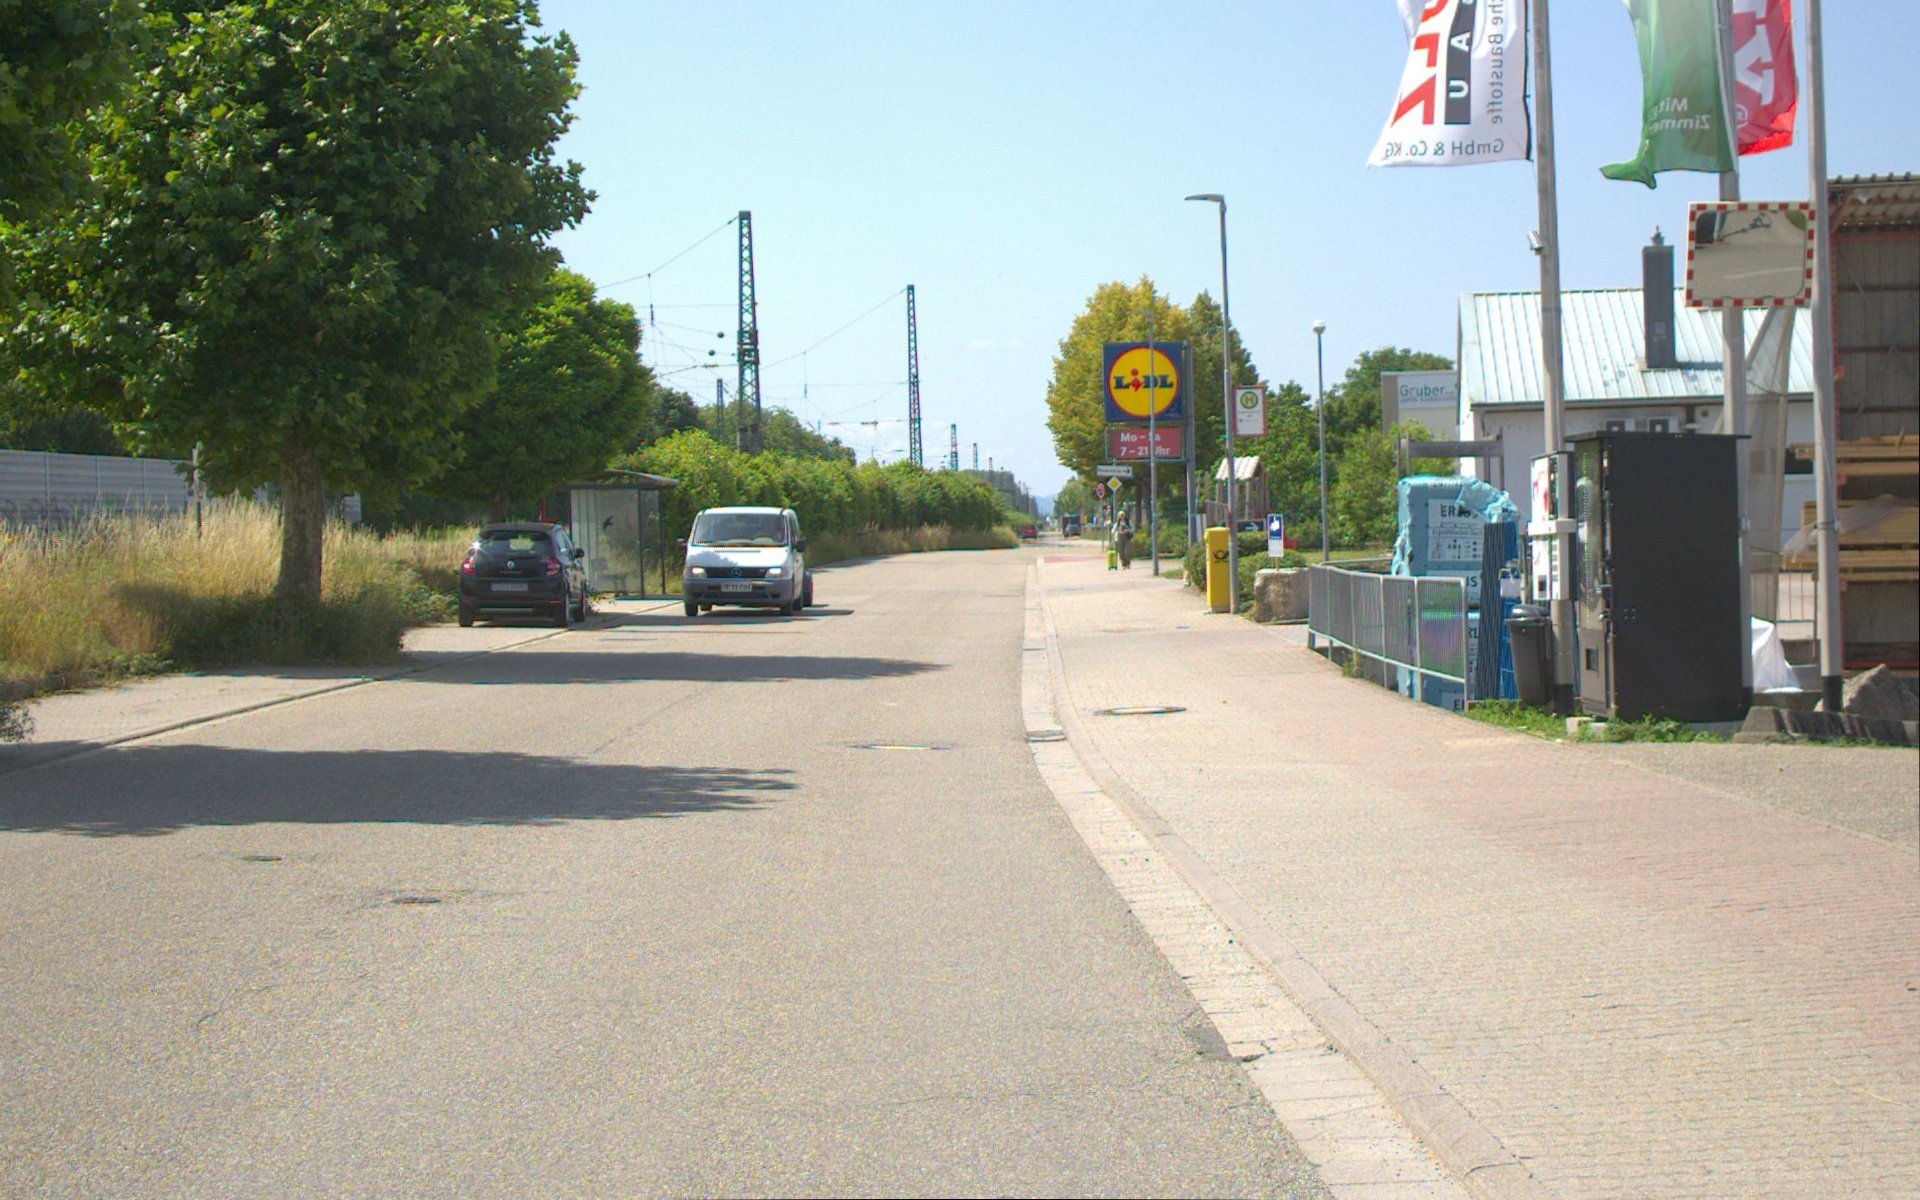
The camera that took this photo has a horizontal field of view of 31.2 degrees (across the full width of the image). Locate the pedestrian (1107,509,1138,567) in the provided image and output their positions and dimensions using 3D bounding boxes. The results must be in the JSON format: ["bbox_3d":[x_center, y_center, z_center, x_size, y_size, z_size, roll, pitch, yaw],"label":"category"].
[{"bbox_3d":[4.531,-1.725,96.023,0.761,1.596,1.210,-1,1,-1],"label":"pedestrian"}]

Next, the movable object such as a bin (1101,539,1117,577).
[{"bbox_3d":[4.138,-1.166,95.583,0.374,1.026,0.499,-2,1,-3],"label":"movable object such as a bin"}]

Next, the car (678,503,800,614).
[{"bbox_3d":[-3.797,-0.740,59.699,1.838,1.851,4.484,0,1,0],"label":"car"}]

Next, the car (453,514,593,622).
[{"bbox_3d":[-6.677,-0.524,52.836,1.741,1.590,3.580,0,1,-1],"label":"car"}]
